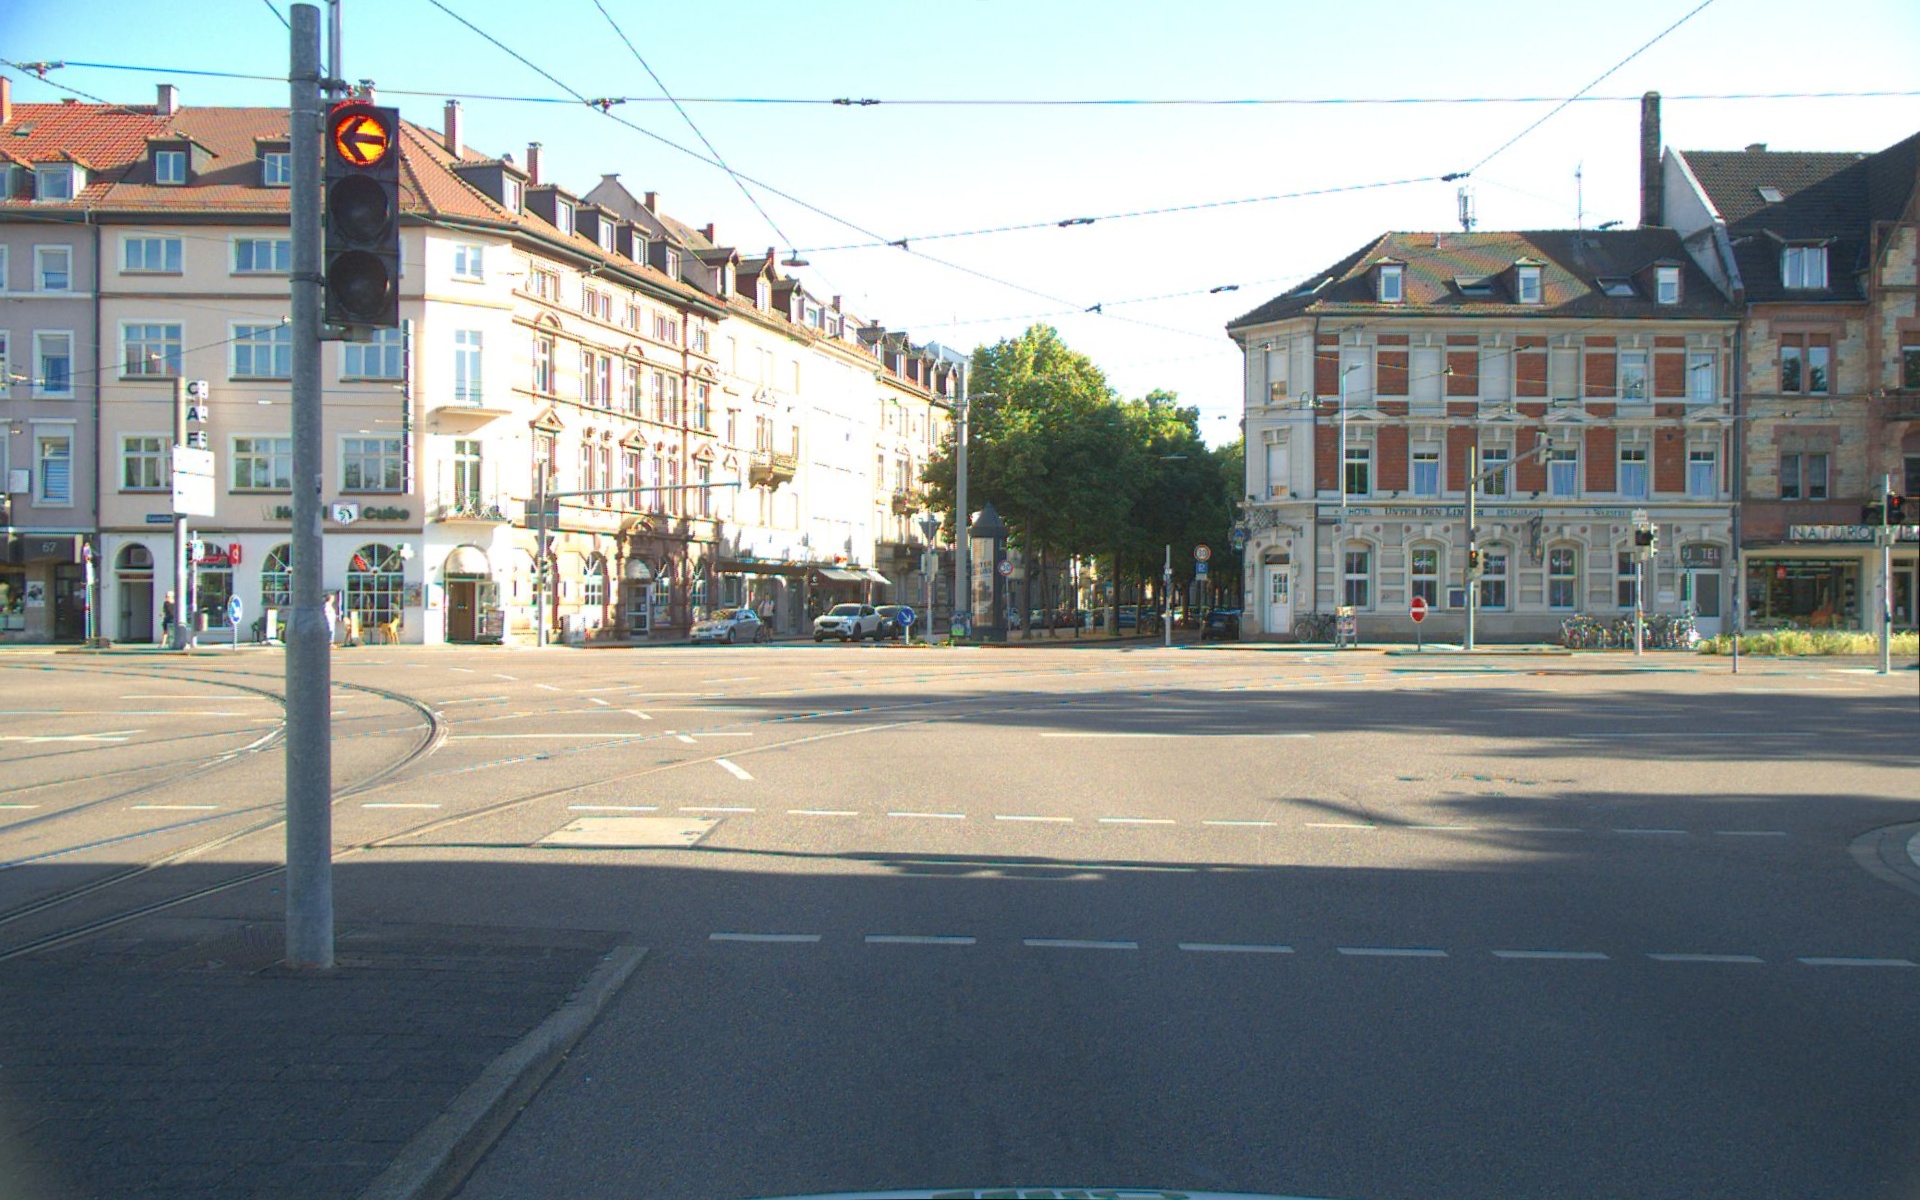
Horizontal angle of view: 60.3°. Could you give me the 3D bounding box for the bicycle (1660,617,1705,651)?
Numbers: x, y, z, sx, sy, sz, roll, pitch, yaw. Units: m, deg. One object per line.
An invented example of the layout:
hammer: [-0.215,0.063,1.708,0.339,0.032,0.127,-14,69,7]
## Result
bicycle: [23.329,1.087,53.422,0.593,1.069,1.641,0,0,-6]

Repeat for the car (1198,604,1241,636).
car: [12.973,1.005,82.465,1.616,1.551,3.755,0,-1,17]

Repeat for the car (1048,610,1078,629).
car: [8.244,1.540,131.706,1.704,1.422,4.127,3,0,13]

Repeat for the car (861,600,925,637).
car: [-2.960,0.800,73.472,1.951,1.540,4.004,0,0,11]

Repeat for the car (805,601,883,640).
car: [-4.652,0.793,67.079,2.052,1.525,4.003,0,0,13]

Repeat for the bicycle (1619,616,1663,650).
bicycle: [21.942,1.062,53.325,0.593,1.069,1.641,0,0,-6]

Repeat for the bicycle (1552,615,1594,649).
bicycle: [19.824,1.027,53.511,0.593,1.069,1.641,0,0,-6]

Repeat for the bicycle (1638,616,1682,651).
bicycle: [22.603,1.074,53.401,0.593,1.069,1.641,0,0,-6]

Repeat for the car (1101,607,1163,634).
car: [12.004,1.405,115.384,4.024,1.675,1.748,3,0,15]

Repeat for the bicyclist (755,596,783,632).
bicyclist: [-7.560,0.546,65.464,0.776,1.399,1.109,0,0,14]

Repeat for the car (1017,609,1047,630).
car: [5.334,1.416,122.840,1.704,1.422,4.127,3,0,9]

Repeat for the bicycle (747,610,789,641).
bicycle: [-7.575,0.997,65.494,0.734,1.155,2.812,0,0,14]

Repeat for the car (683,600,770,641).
car: [-9.451,0.815,67.220,2.052,1.572,4.367,0,0,13]

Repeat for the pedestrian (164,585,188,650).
pedestrian: [-24.667,0.543,52.034,0.498,2.049,0.505,0,0,2]

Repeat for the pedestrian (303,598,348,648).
pedestrian: [-20.609,0.745,53.757,1.043,1.618,1.042,0,0,1]

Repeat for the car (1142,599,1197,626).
car: [16.958,1.015,133.664,4.026,1.952,1.746,3,0,21]

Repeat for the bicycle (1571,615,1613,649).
bicycle: [20.465,1.038,53.567,0.593,1.069,1.641,0,0,-6]

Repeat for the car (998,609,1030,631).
car: [3.803,1.360,115.840,1.704,1.422,4.127,3,0,9]

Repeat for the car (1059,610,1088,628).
car: [9.421,1.577,136.502,1.704,1.422,4.127,3,0,13]

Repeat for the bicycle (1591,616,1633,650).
bicycle: [21.116,1.049,53.593,0.593,1.069,1.641,0,0,-6]

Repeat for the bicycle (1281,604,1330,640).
bicycle: [11.975,0.766,57.302,1.603,1.243,0.607,0,0,16]

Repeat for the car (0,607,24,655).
car: [-32.064,1.002,52.155,3.910,1.489,1.998,-1,1,-6]

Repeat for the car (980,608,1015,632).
car: [2.526,1.313,110.016,1.704,1.422,4.127,3,0,9]
